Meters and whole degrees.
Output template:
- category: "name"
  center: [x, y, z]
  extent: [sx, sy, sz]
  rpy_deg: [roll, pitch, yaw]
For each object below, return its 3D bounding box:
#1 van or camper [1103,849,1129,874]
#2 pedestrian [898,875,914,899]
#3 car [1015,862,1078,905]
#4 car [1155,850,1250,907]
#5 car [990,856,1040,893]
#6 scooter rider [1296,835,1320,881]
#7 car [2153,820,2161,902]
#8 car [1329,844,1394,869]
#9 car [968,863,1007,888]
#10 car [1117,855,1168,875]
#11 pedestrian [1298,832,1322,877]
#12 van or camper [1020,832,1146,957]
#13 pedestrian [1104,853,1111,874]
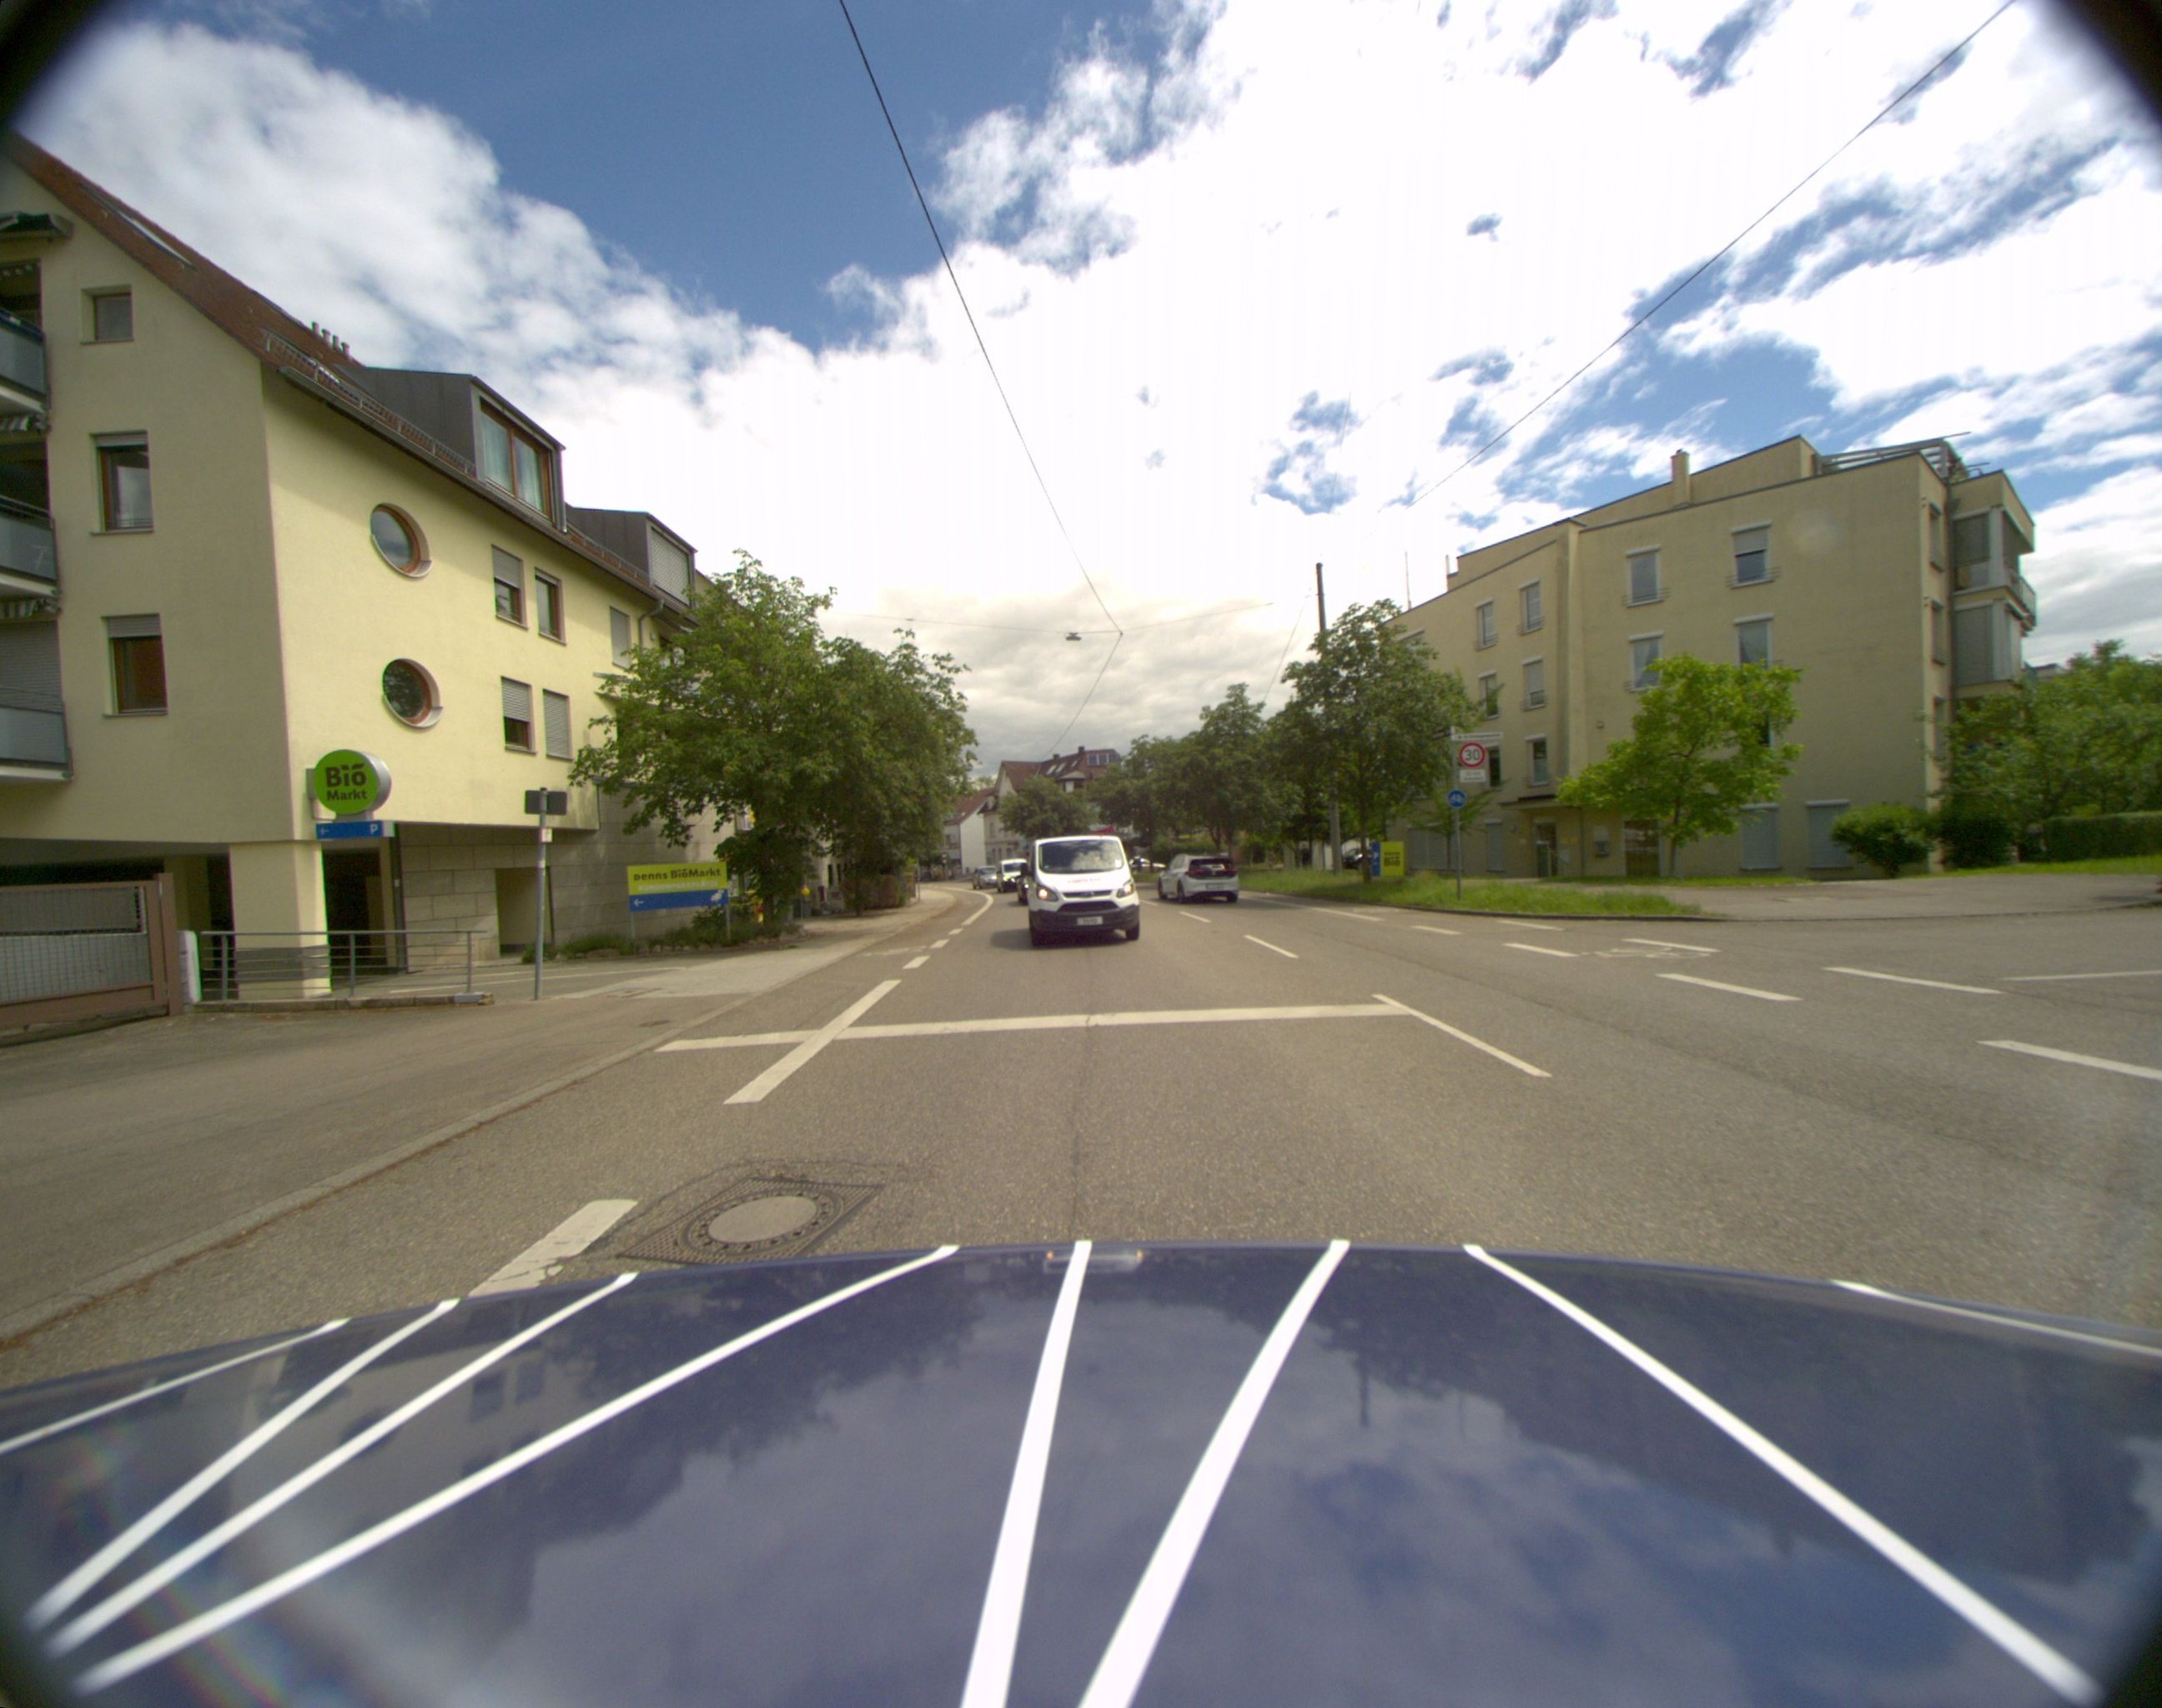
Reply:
- category: "van or camper"
  center: [3.193, 0.679, 69.682]
  extent: [1.794, 2.077, 3.809]
  rpy_deg: [-6, 1, -4]
- category: "pedestrian"
  center: [-9.856, 1.836, 42.880]
  extent: [0.731, 1.293, 0.753]
  rpy_deg: [-3, 0, -6]
- category: "car"
  center: [-1.389, 1.062, 28.699]
  extent: [1.841, 1.382, 3.997]
  rpy_deg: [-3, 0, -10]
- category: "car"
  center: [3.768, 0.704, 24.327]
  extent: [1.905, 1.571, 3.997]
  rpy_deg: [-2, 1, -7]
- category: "car"
  center: [-3.734, 1.116, 42.266]
  extent: [1.854, 1.805, 3.994]
  rpy_deg: [-6, 1, -17]
- category: "scooter rider"
  center: [10.389, 0.187, 34.795]
  extent: [0.678, 2.002, 0.794]
  rpy_deg: [-6, 1, -6]
- category: "car"
  center: [20.631, -0.075, 12.839]
  extent: [4.154, 1.390, 1.735]
  rpy_deg: [-6, 1, -18]
- category: "car"
  center: [17.410, 0.142, 47.112]
  extent: [4.007, 1.411, 1.789]
  rpy_deg: [-1, -2, -35]
- category: "car"
  center: [-6.390, 1.448, 51.622]
  extent: [1.695, 1.477, 3.994]
  rpy_deg: [-6, 1, -18]
- category: "car"
  center: [5.298, 0.926, 65.711]
  extent: [4.047, 1.314, 1.534]
  rpy_deg: [-6, 1, -19]
- category: "pedestrian"
  center: [10.382, 0.019, 34.490]
  extent: [0.704, 2.002, 0.583]
  rpy_deg: [-6, 2, -3]
- category: "van or camper"
  center: [-0.144, 0.701, 15.400]
  extent: [2.028, 2.002, 5.101]
  rpy_deg: [-3, 0, -4]
- category: "pedestrian"
  center: [2.497, 0.913, 71.809]
  extent: [0.383, 1.979, 0.443]
  rpy_deg: [-6, 2, -5]
